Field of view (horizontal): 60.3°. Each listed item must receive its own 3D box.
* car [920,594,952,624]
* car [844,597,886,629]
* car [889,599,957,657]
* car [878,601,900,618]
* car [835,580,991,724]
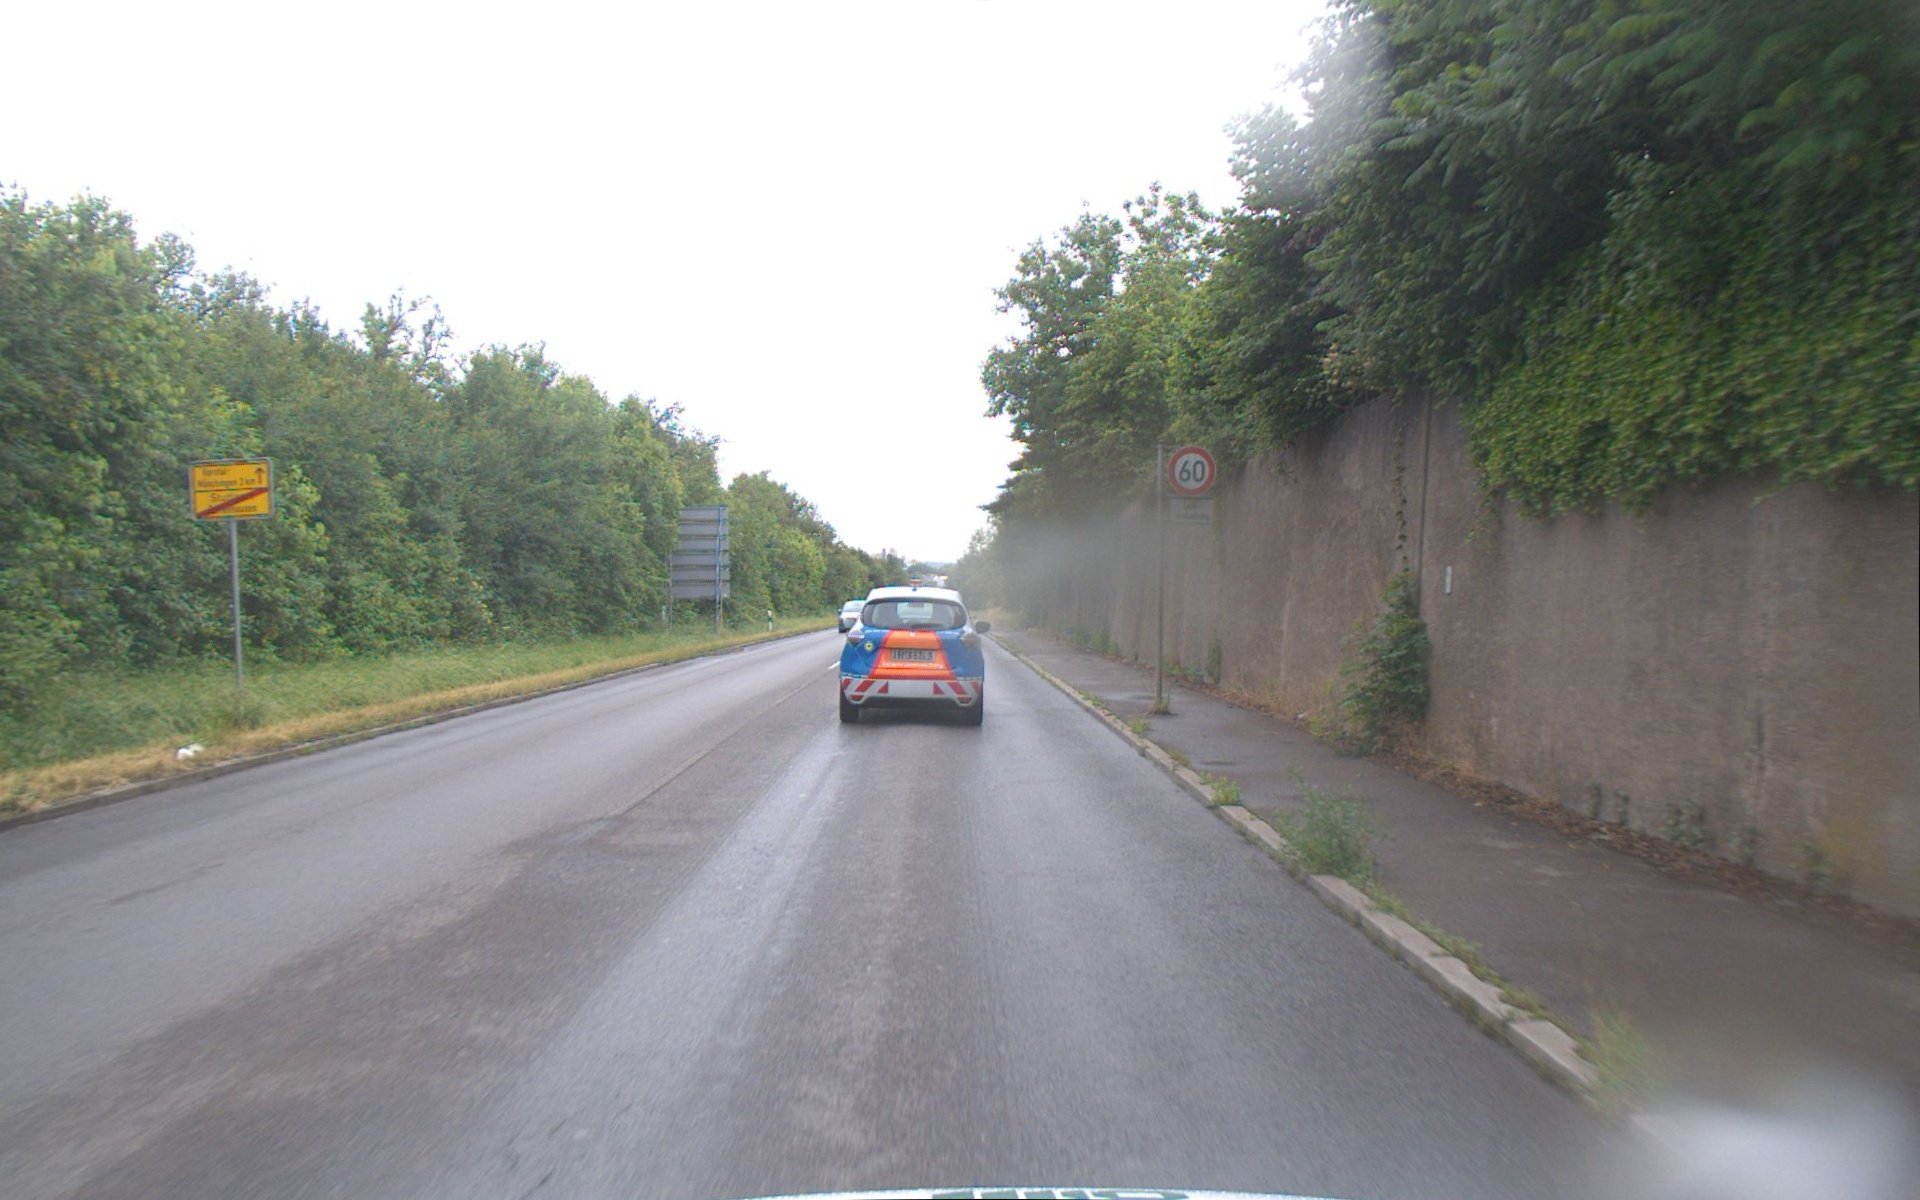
[{"bbox_3d":[-1.386,0.489,94.980,1.737,1.653,3.999,-2,0,-2],"label":"car"},{"bbox_3d":[-4.546,0.612,79.468,1.788,1.445,4.319,-1,0,-1],"label":"car"},{"bbox_3d":[-0.876,0.667,40.391,1.566,1.309,3.476,-1,0,0],"label":"car"},{"bbox_3d":[-6.053,0.797,141.615,1.853,1.378,4.380,0,0,-2],"label":"car"},{"bbox_3d":[-0.556,0.567,20.337,1.716,1.583,3.792,1,0,-1],"label":"car"}]
